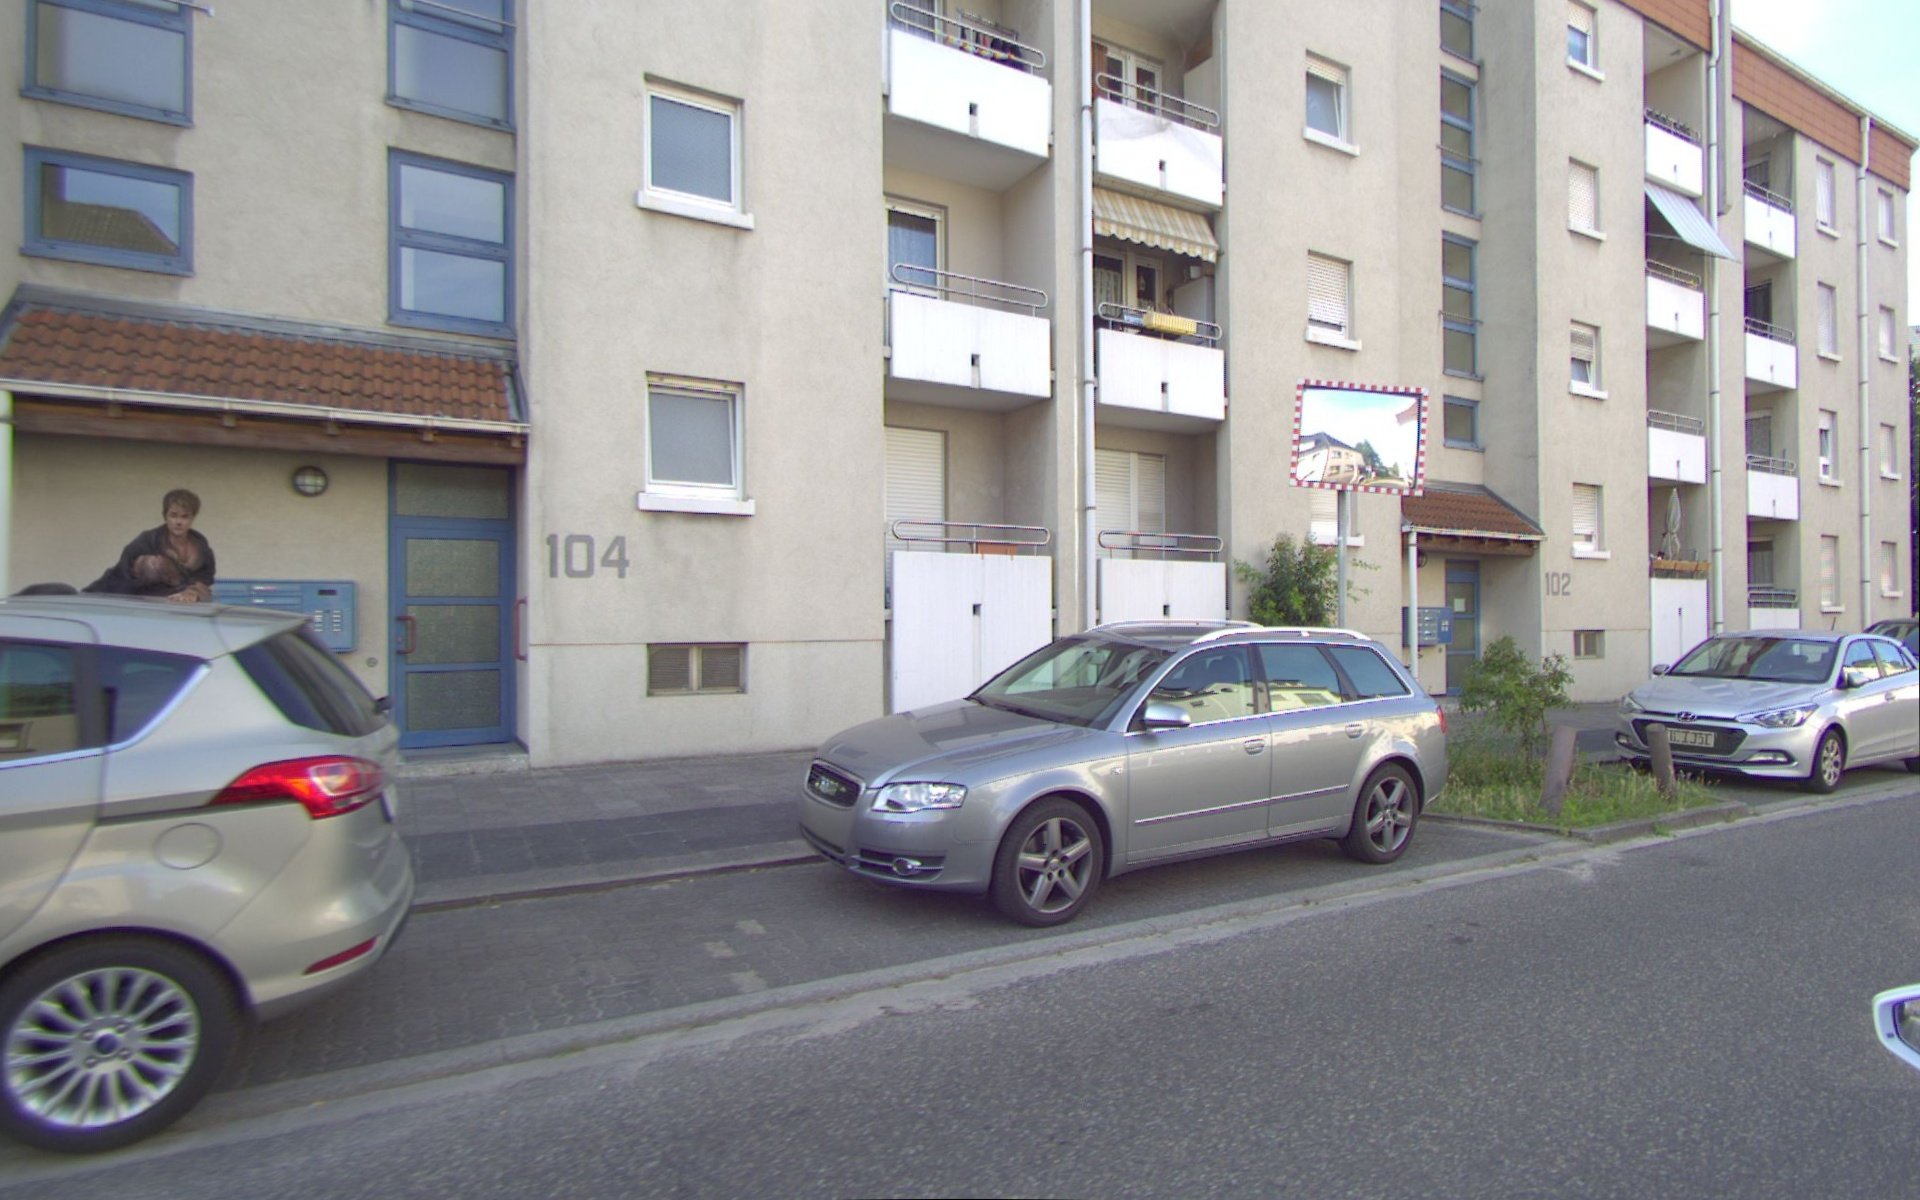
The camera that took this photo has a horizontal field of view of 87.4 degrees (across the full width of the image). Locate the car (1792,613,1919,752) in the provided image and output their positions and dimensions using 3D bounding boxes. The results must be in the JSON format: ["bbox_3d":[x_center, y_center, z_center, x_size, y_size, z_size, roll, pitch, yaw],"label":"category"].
[{"bbox_3d":[12.910,1.001,13.225,4.319,1.624,1.678,1,-1,-31],"label":"car"}]

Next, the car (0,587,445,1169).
[{"bbox_3d":[-3.776,0.735,3.044,3.916,1.576,1.719,1,0,-29],"label":"car"}]

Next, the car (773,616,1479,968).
[{"bbox_3d":[1.183,0.886,6.362,4.321,1.541,1.798,1,0,-32],"label":"car"}]

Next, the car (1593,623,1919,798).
[{"bbox_3d":[8.537,0.995,10.443,4.093,1.474,1.677,1,0,-31],"label":"car"}]
